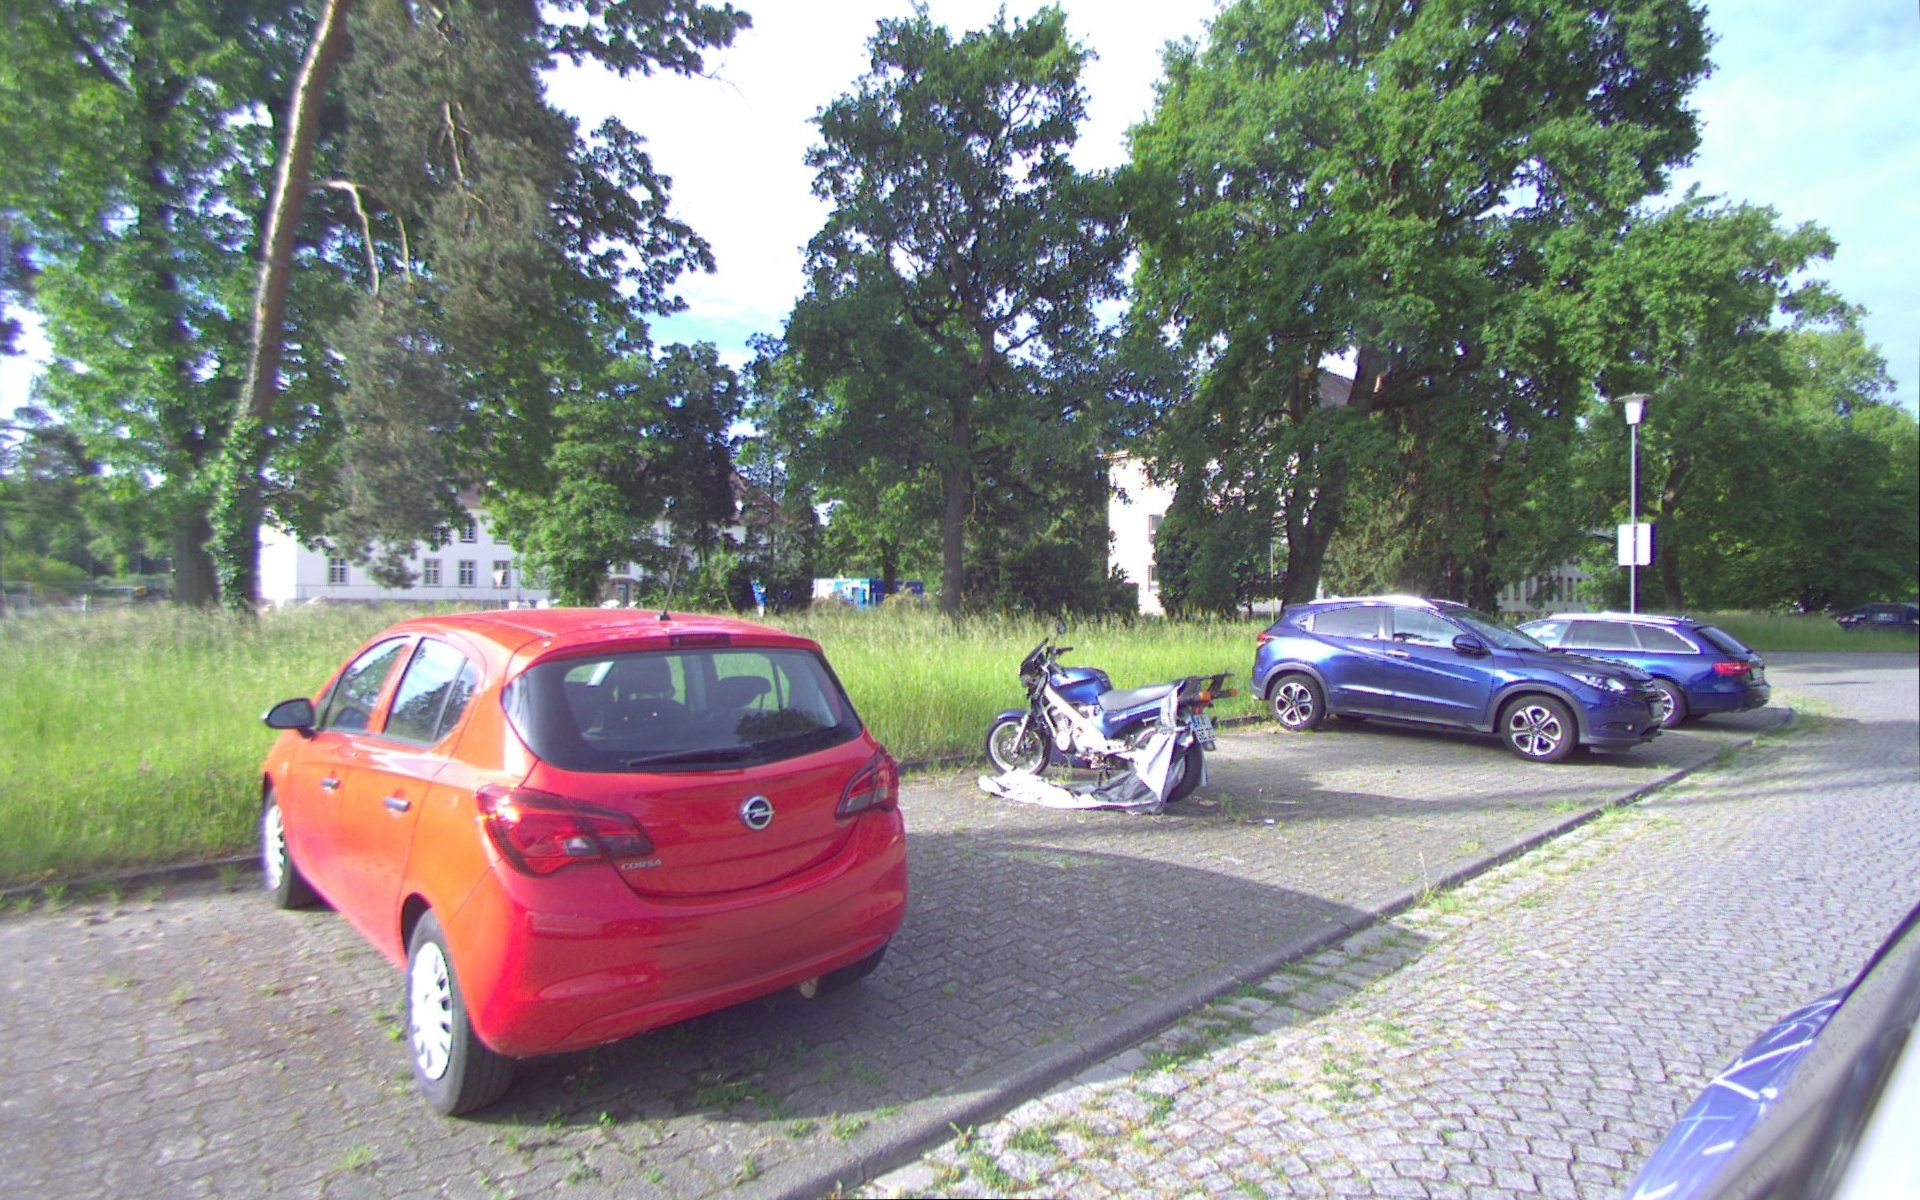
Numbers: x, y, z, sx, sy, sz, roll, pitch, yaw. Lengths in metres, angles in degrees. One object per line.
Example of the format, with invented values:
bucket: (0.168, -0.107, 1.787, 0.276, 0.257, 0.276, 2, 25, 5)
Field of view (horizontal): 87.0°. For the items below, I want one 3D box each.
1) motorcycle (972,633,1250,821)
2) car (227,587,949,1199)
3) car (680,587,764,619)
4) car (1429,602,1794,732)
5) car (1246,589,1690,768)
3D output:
motorcycle: (1.076, 0.887, 7.841, 0.596, 1.127, 2.306, 0, 2, -41)
car: (-1.972, 0.719, 4.545, 1.659, 1.491, 3.881, -1, 2, -43)
car: (-17.978, 0.180, 76.523, 5.857, 2.328, 2.166, 0, 0, -41)
car: (9.044, 0.818, 14.323, 1.752, 1.469, 4.033, 0, 1, -40)
car: (5.499, 0.696, 11.359, 1.717, 1.588, 4.130, -1, 1, -43)
